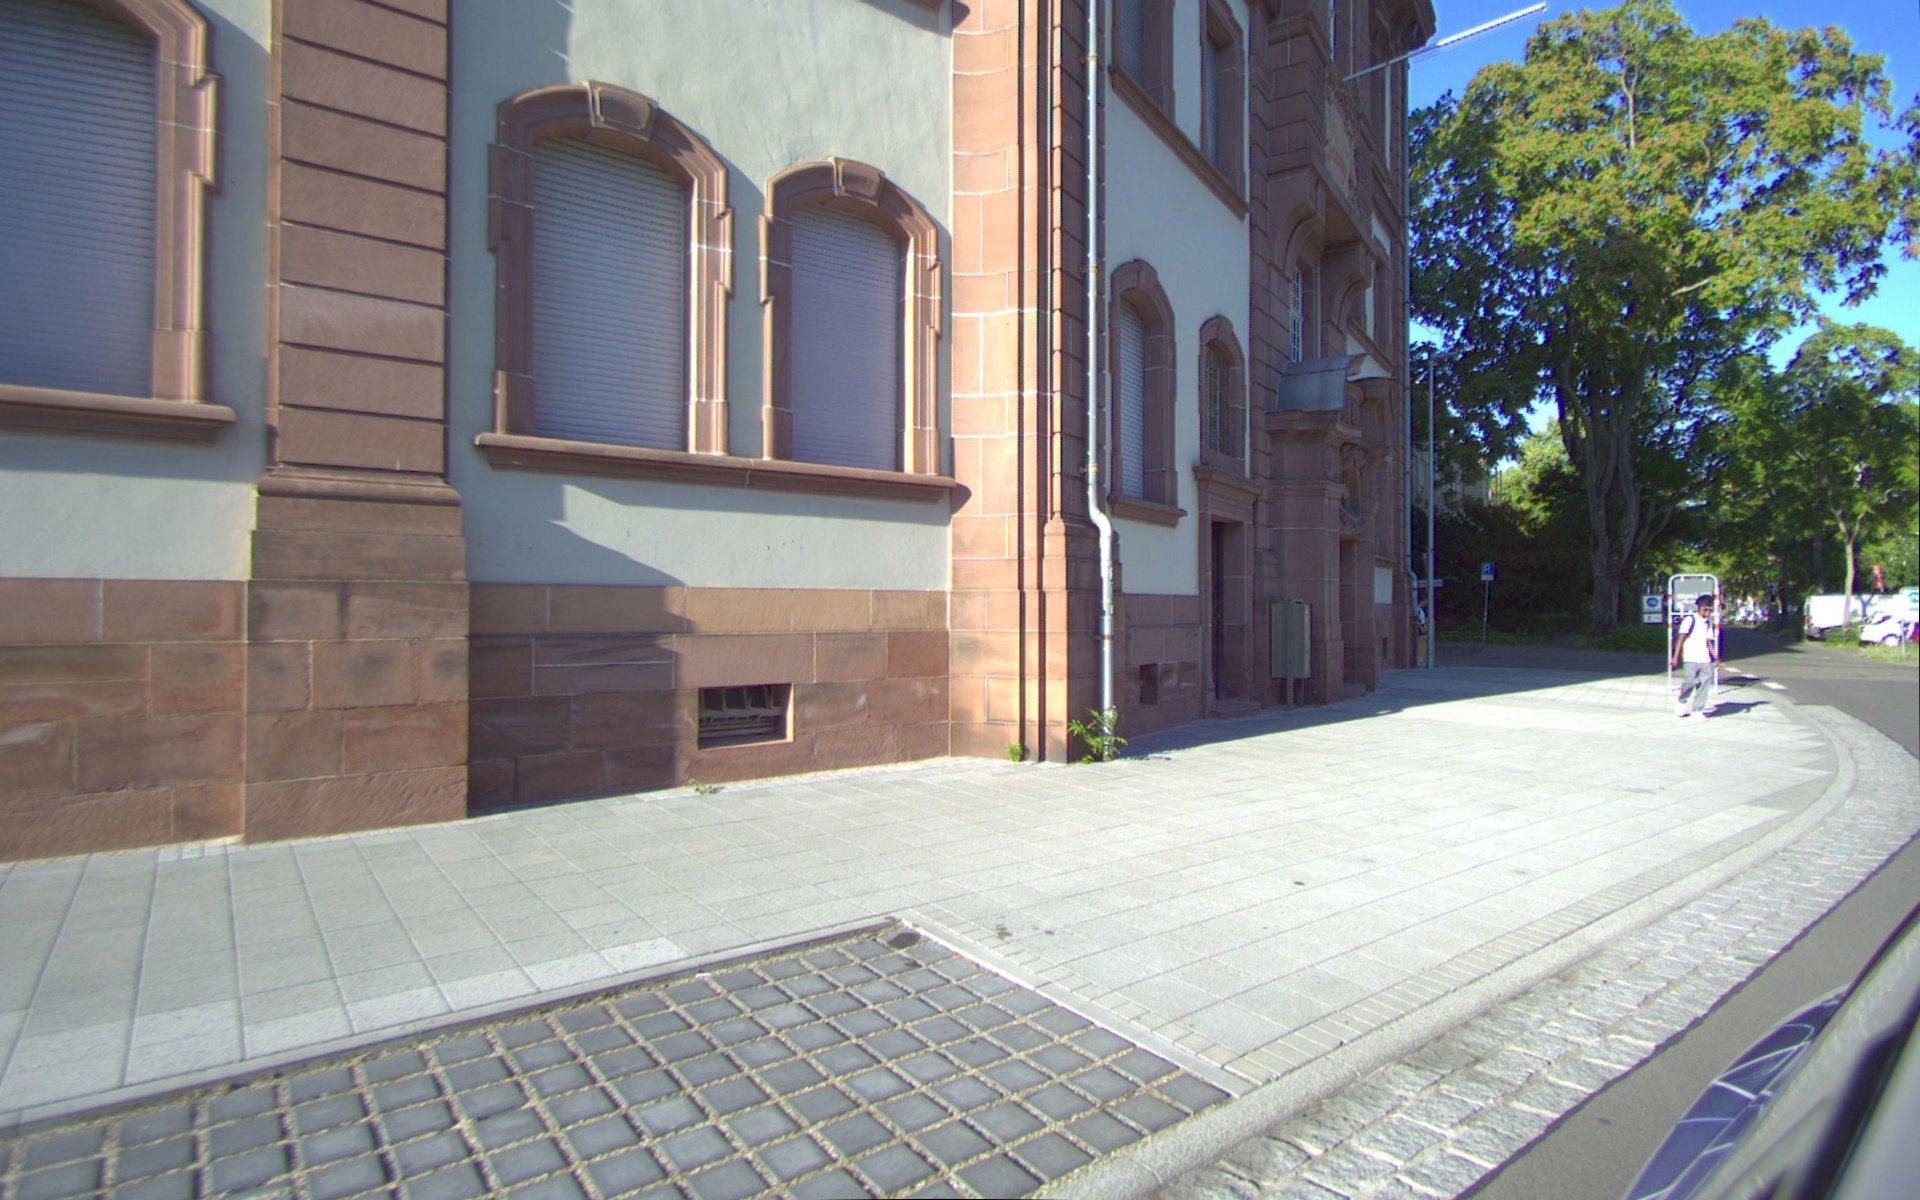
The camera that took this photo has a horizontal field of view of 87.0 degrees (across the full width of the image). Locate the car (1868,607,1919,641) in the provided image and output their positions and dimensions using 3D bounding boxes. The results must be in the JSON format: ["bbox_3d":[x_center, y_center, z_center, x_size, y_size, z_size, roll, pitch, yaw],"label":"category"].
[{"bbox_3d":[41.527,1.029,43.068,4.030,1.438,1.698,0,0,33],"label":"car"}]

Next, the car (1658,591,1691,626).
[{"bbox_3d":[56.135,0.660,79.483,1.942,2.632,4.109,0,-1,38],"label":"car"}]

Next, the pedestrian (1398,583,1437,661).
[{"bbox_3d":[11.105,0.529,24.553,0.712,1.864,0.779,0,-2,37],"label":"pedestrian"}]

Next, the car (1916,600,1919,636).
[{"bbox_3d":[38.747,0.705,38.143,3.653,1.438,1.698,0,0,33],"label":"car"}]

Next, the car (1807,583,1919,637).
[{"bbox_3d":[48.243,0.530,52.890,5.867,2.735,2.194,0,-1,33],"label":"car"}]

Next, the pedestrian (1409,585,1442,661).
[{"bbox_3d":[11.570,0.572,25.164,0.609,1.864,0.716,0,-3,37],"label":"pedestrian"}]

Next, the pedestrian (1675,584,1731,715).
[{"bbox_3d":[10.309,0.657,14.061,0.531,1.740,0.990,3,1,35],"label":"pedestrian"}]
